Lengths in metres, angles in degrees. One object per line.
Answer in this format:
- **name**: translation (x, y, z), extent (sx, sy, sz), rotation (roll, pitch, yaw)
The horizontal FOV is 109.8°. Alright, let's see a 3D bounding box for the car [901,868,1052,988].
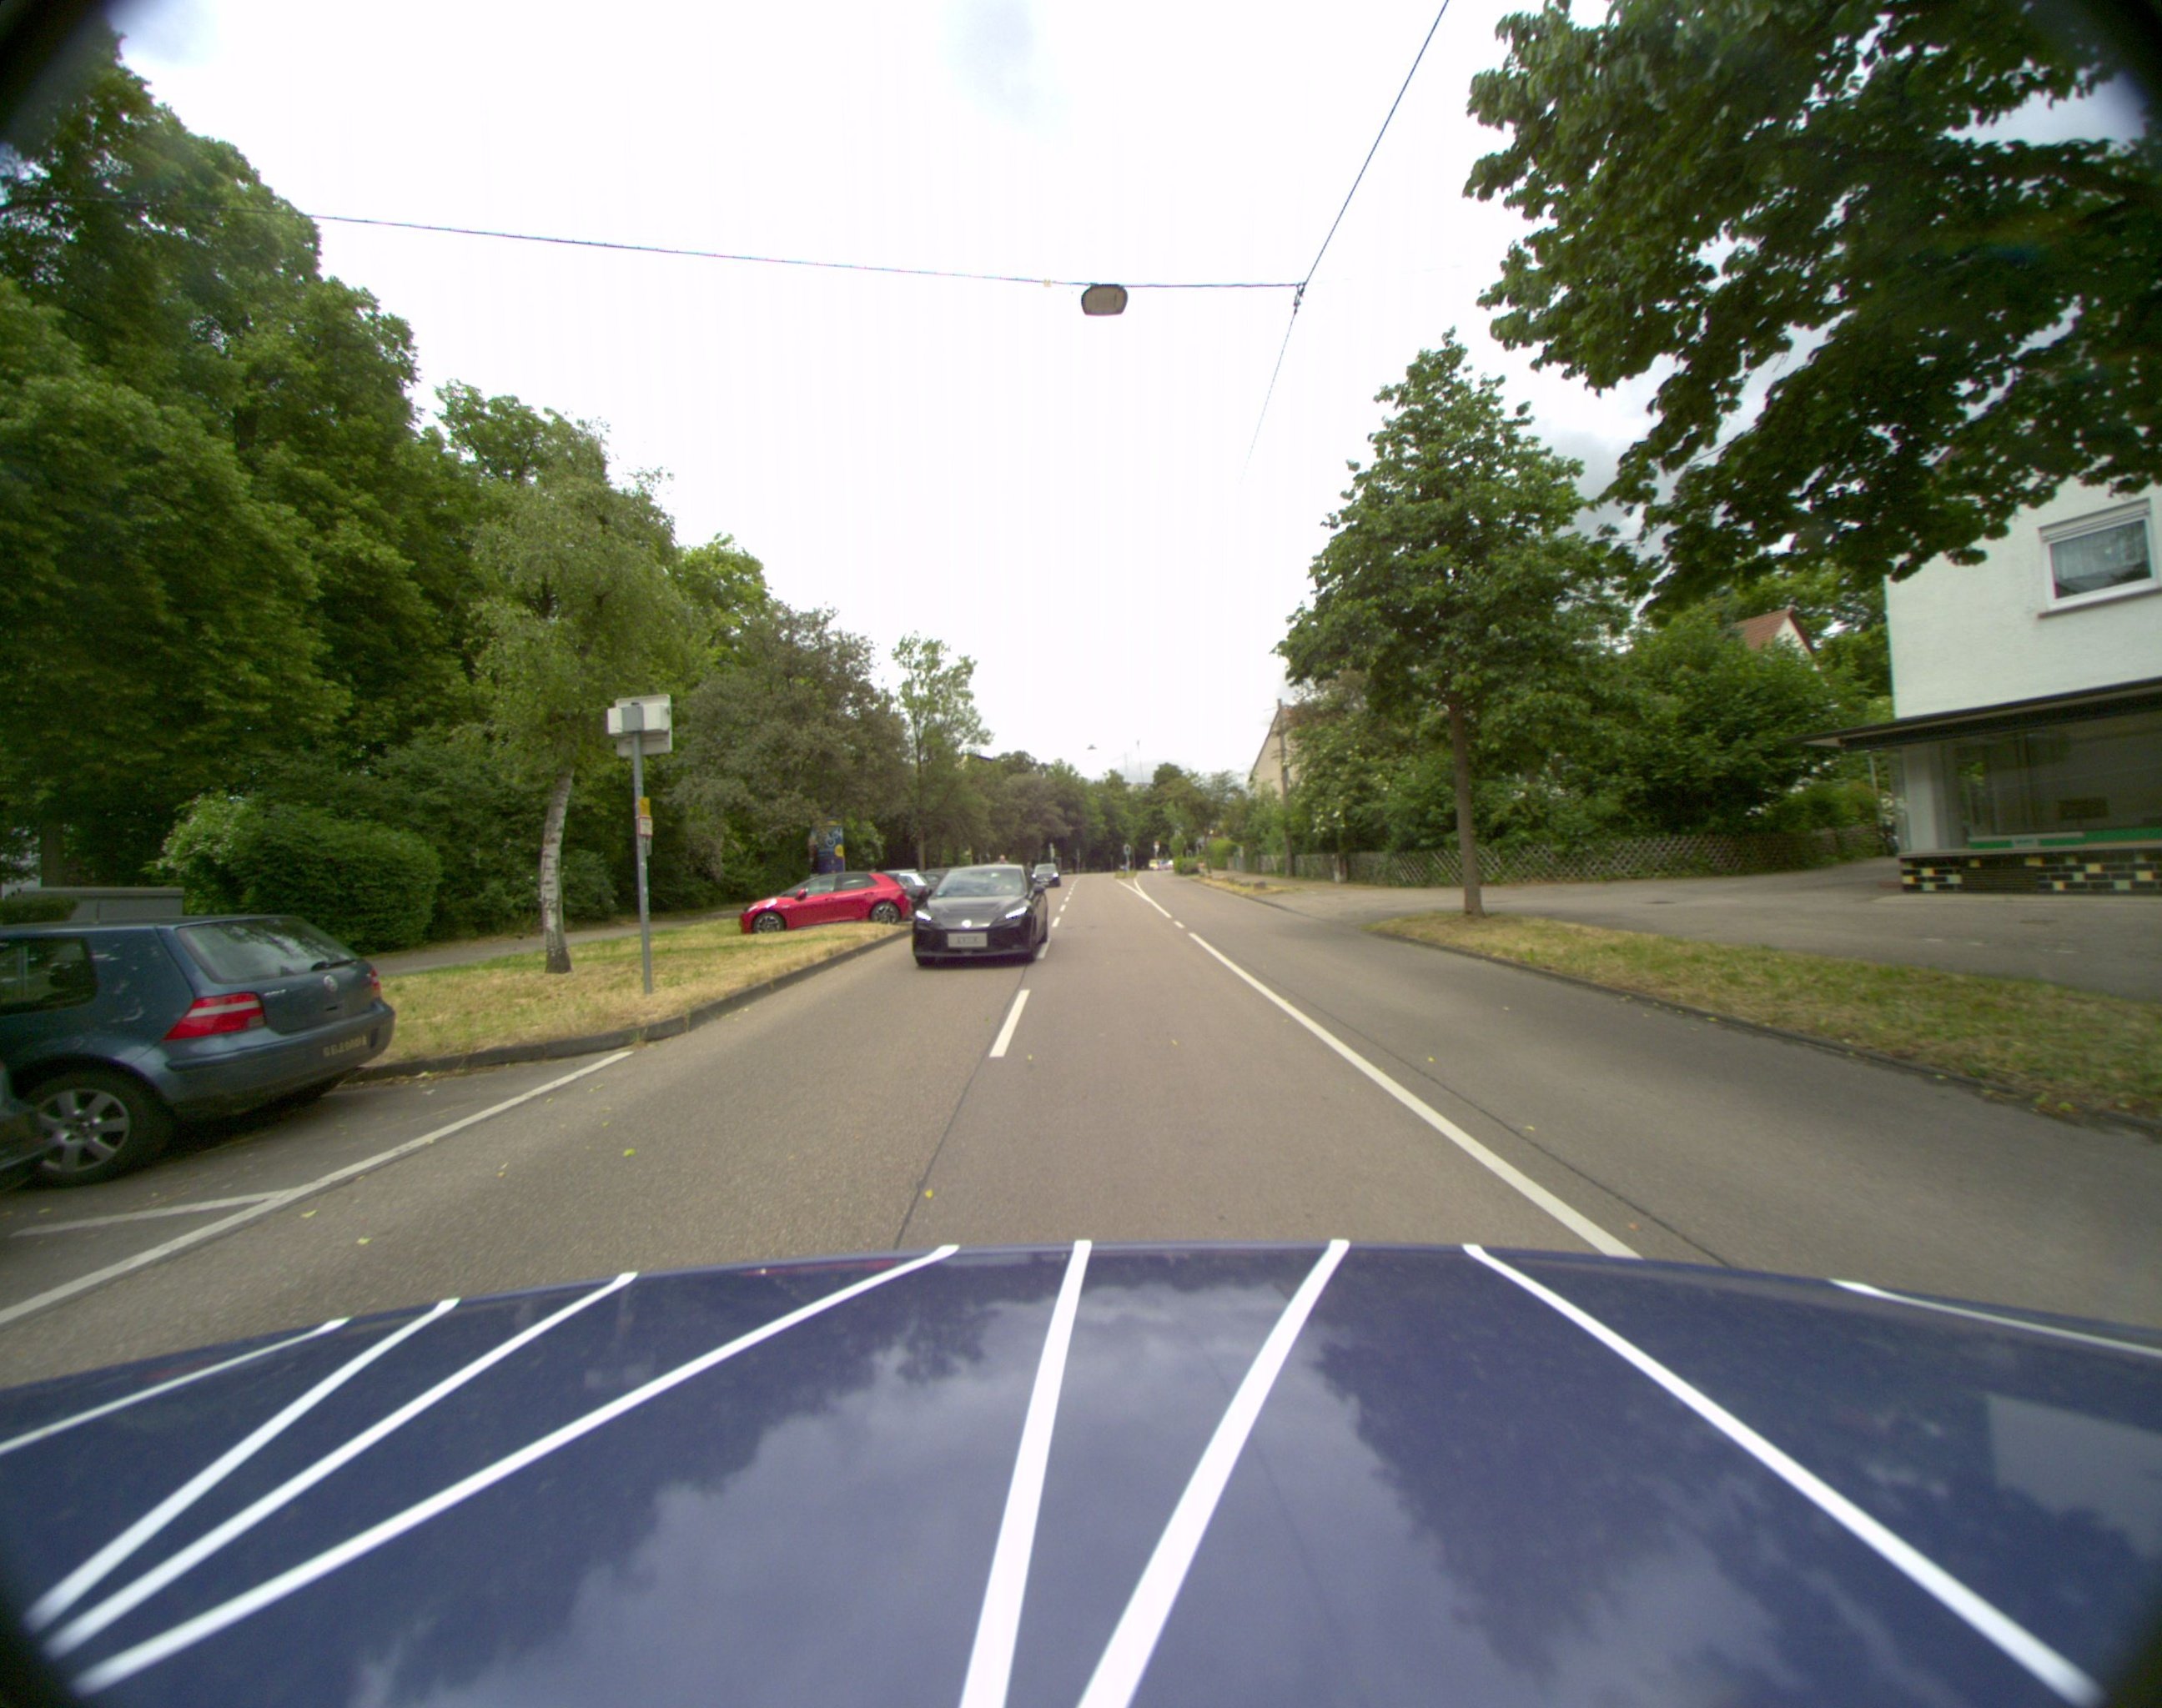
- **car**: translation (-1.535, 1.074, 12.727), extent (1.804, 1.541, 4.299), rotation (-3, -1, 1)

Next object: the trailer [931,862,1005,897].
- **trailer**: translation (-6.028, 1.352, 40.464), extent (3.701, 1.526, 1.645), rotation (-4, 0, -10)

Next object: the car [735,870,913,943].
- **car**: translation (-6.515, 1.286, 19.585), extent (4.087, 1.506, 1.731), rotation (-3, 0, -17)

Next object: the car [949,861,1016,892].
- **car**: translation (-6.241, 1.402, 48.006), extent (3.999, 1.715, 1.679), rotation (-3, 0, -10)

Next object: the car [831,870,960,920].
- **car**: translation (-6.740, 1.459, 27.681), extent (4.361, 1.437, 1.632), rotation (-3, -1, -17)

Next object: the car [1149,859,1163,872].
- **car**: translation (11.718, 1.829, 119.021), extent (1.920, 1.977, 4.803), rotation (-3, -1, 5)

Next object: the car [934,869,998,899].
- **car**: translation (-6.541, 1.662, 43.002), extent (3.436, 1.437, 1.558), rotation (-3, 0, -11)

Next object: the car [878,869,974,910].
- **car**: translation (-6.589, 1.480, 32.587), extent (3.853, 1.446, 1.633), rotation (-4, 0, -10)

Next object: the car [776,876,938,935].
- **car**: translation (-6.481, 1.470, 22.345), extent (4.328, 1.333, 1.732), rotation (-4, 0, -13)

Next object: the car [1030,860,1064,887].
- **car**: translation (-2.108, 1.198, 47.881), extent (1.814, 1.520, 4.000), rotation (-3, 0, 1)

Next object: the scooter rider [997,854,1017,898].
- **scooter rider**: translation (-3.013, 0.893, 30.928), extent (0.683, 1.720, 1.196), rotation (-3, -1, -4)

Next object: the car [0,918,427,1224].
- **car**: translation (-6.804, 1.301, 4.518), extent (3.979, 1.397, 1.755), rotation (-4, 0, -14)

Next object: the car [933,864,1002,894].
- **car**: translation (-6.756, 1.483, 45.435), extent (3.831, 1.520, 1.605), rotation (-3, 0, -3)

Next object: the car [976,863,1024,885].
- **car**: translation (-6.466, 1.578, 60.441), extent (3.535, 1.467, 1.591), rotation (-3, 0, -11)

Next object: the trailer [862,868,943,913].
- **trailer**: translation (-7.077, 1.423, 30.218), extent (2.996, 1.533, 1.302), rotation (-3, -1, -12)

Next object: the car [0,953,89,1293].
- **car**: translation (-6.376, 1.265, 2.127), extent (4.043, 1.397, 1.754), rotation (-4, 0, -17)

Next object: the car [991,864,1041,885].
- **car**: translation (-5.607, 1.751, 65.403), extent (4.149, 1.467, 1.575), rotation (-4, 0, -11)

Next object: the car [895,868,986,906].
- **car**: translation (-6.486, 1.503, 35.116), extent (3.925, 1.478, 1.617), rotation (-4, 0, -12)

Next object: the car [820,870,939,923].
- **car**: translation (-6.627, 1.382, 25.185), extent (3.623, 1.437, 1.632), rotation (-4, 0, -15)
